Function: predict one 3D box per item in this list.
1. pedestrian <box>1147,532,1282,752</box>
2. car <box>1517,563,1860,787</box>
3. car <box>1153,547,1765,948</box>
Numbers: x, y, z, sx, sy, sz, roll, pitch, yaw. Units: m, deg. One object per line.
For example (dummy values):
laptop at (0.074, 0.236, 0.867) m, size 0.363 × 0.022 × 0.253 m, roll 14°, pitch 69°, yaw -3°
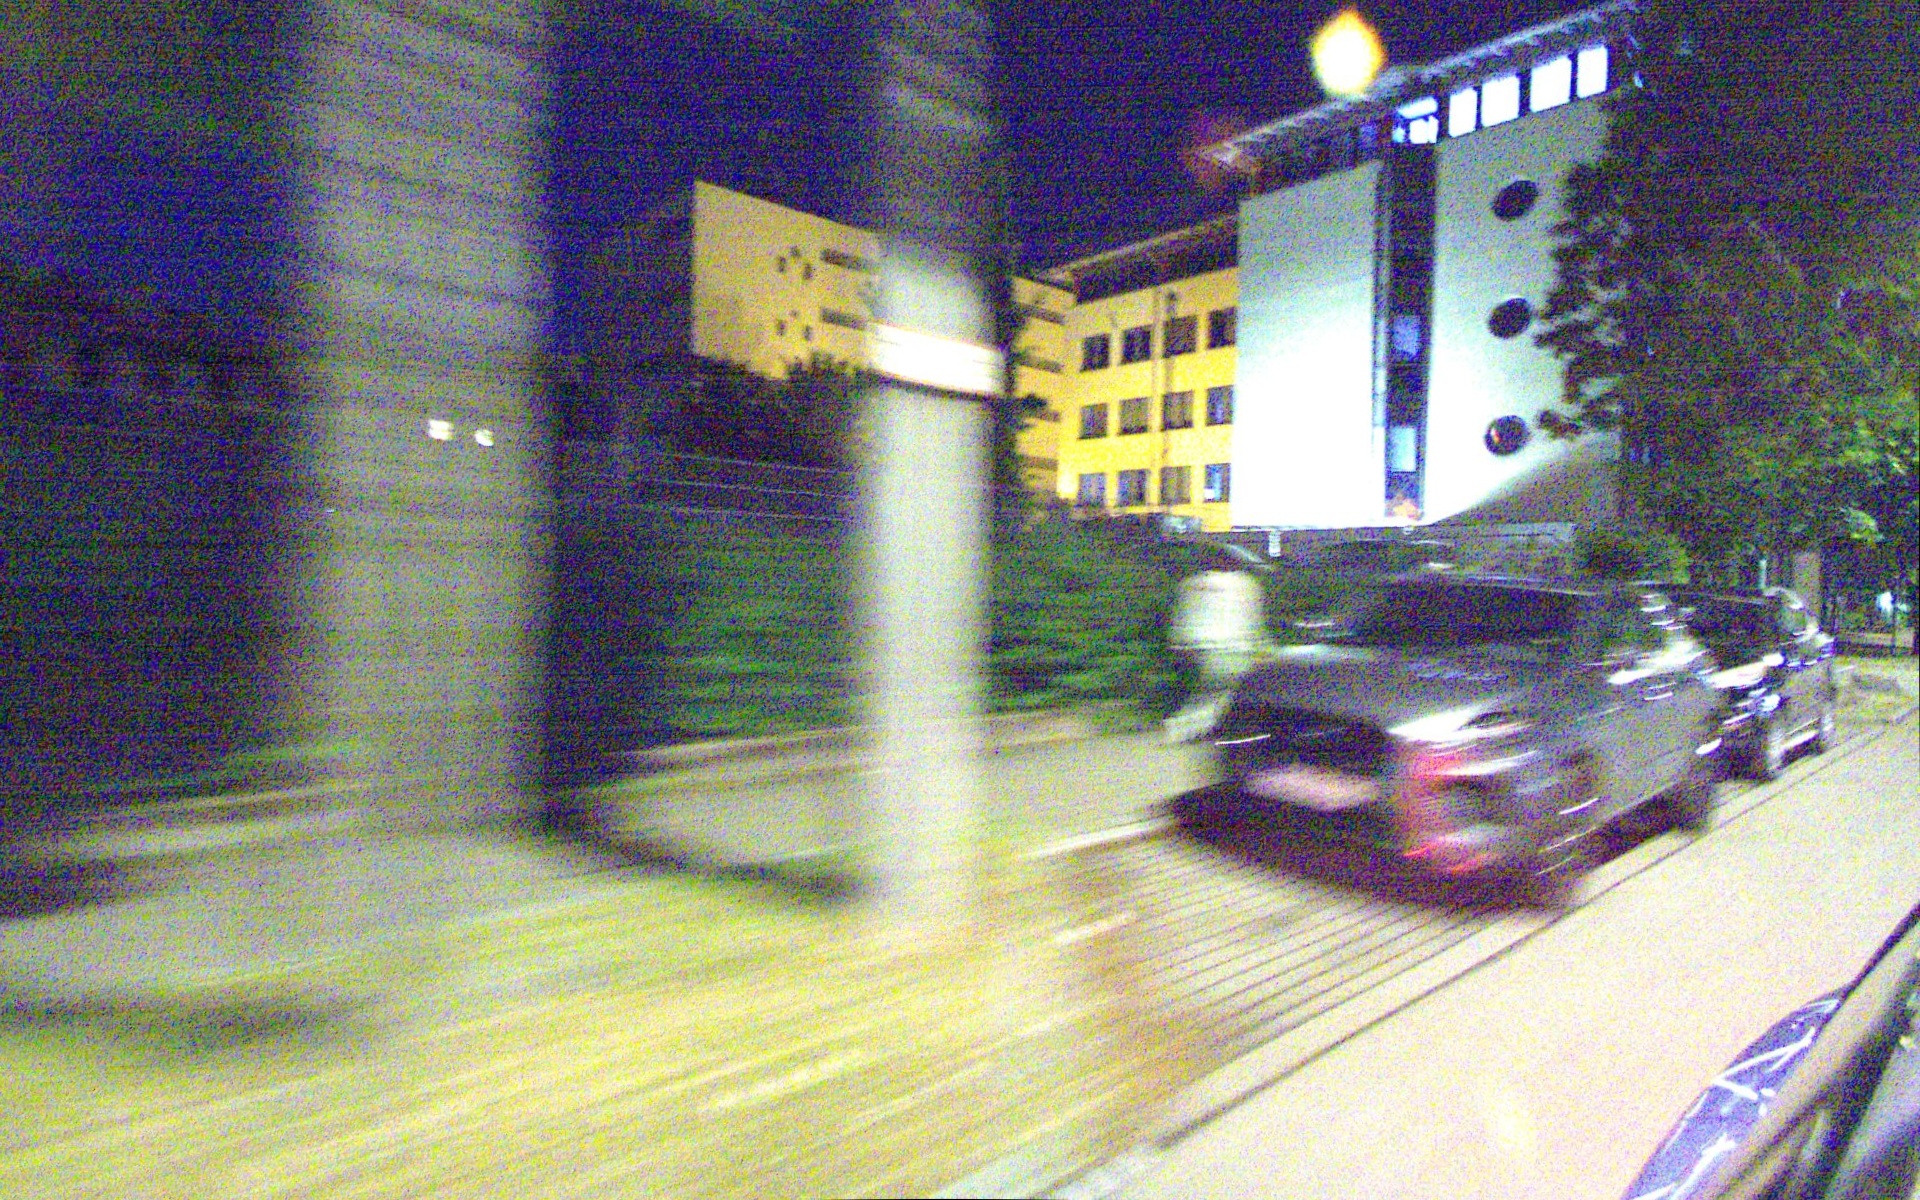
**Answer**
pedestrian at (2.151, 0.317, 8.575) m, size 0.807 × 1.742 × 0.707 m, roll 0°, pitch 3°, yaw -41°
car at (7.255, 0.563, 9.921) m, size 4.137 × 1.674 × 1.856 m, roll 0°, pitch 3°, yaw -42°
car at (3.266, 0.585, 6.242) m, size 4.135 × 1.624 × 1.857 m, roll 0°, pitch 3°, yaw -41°
